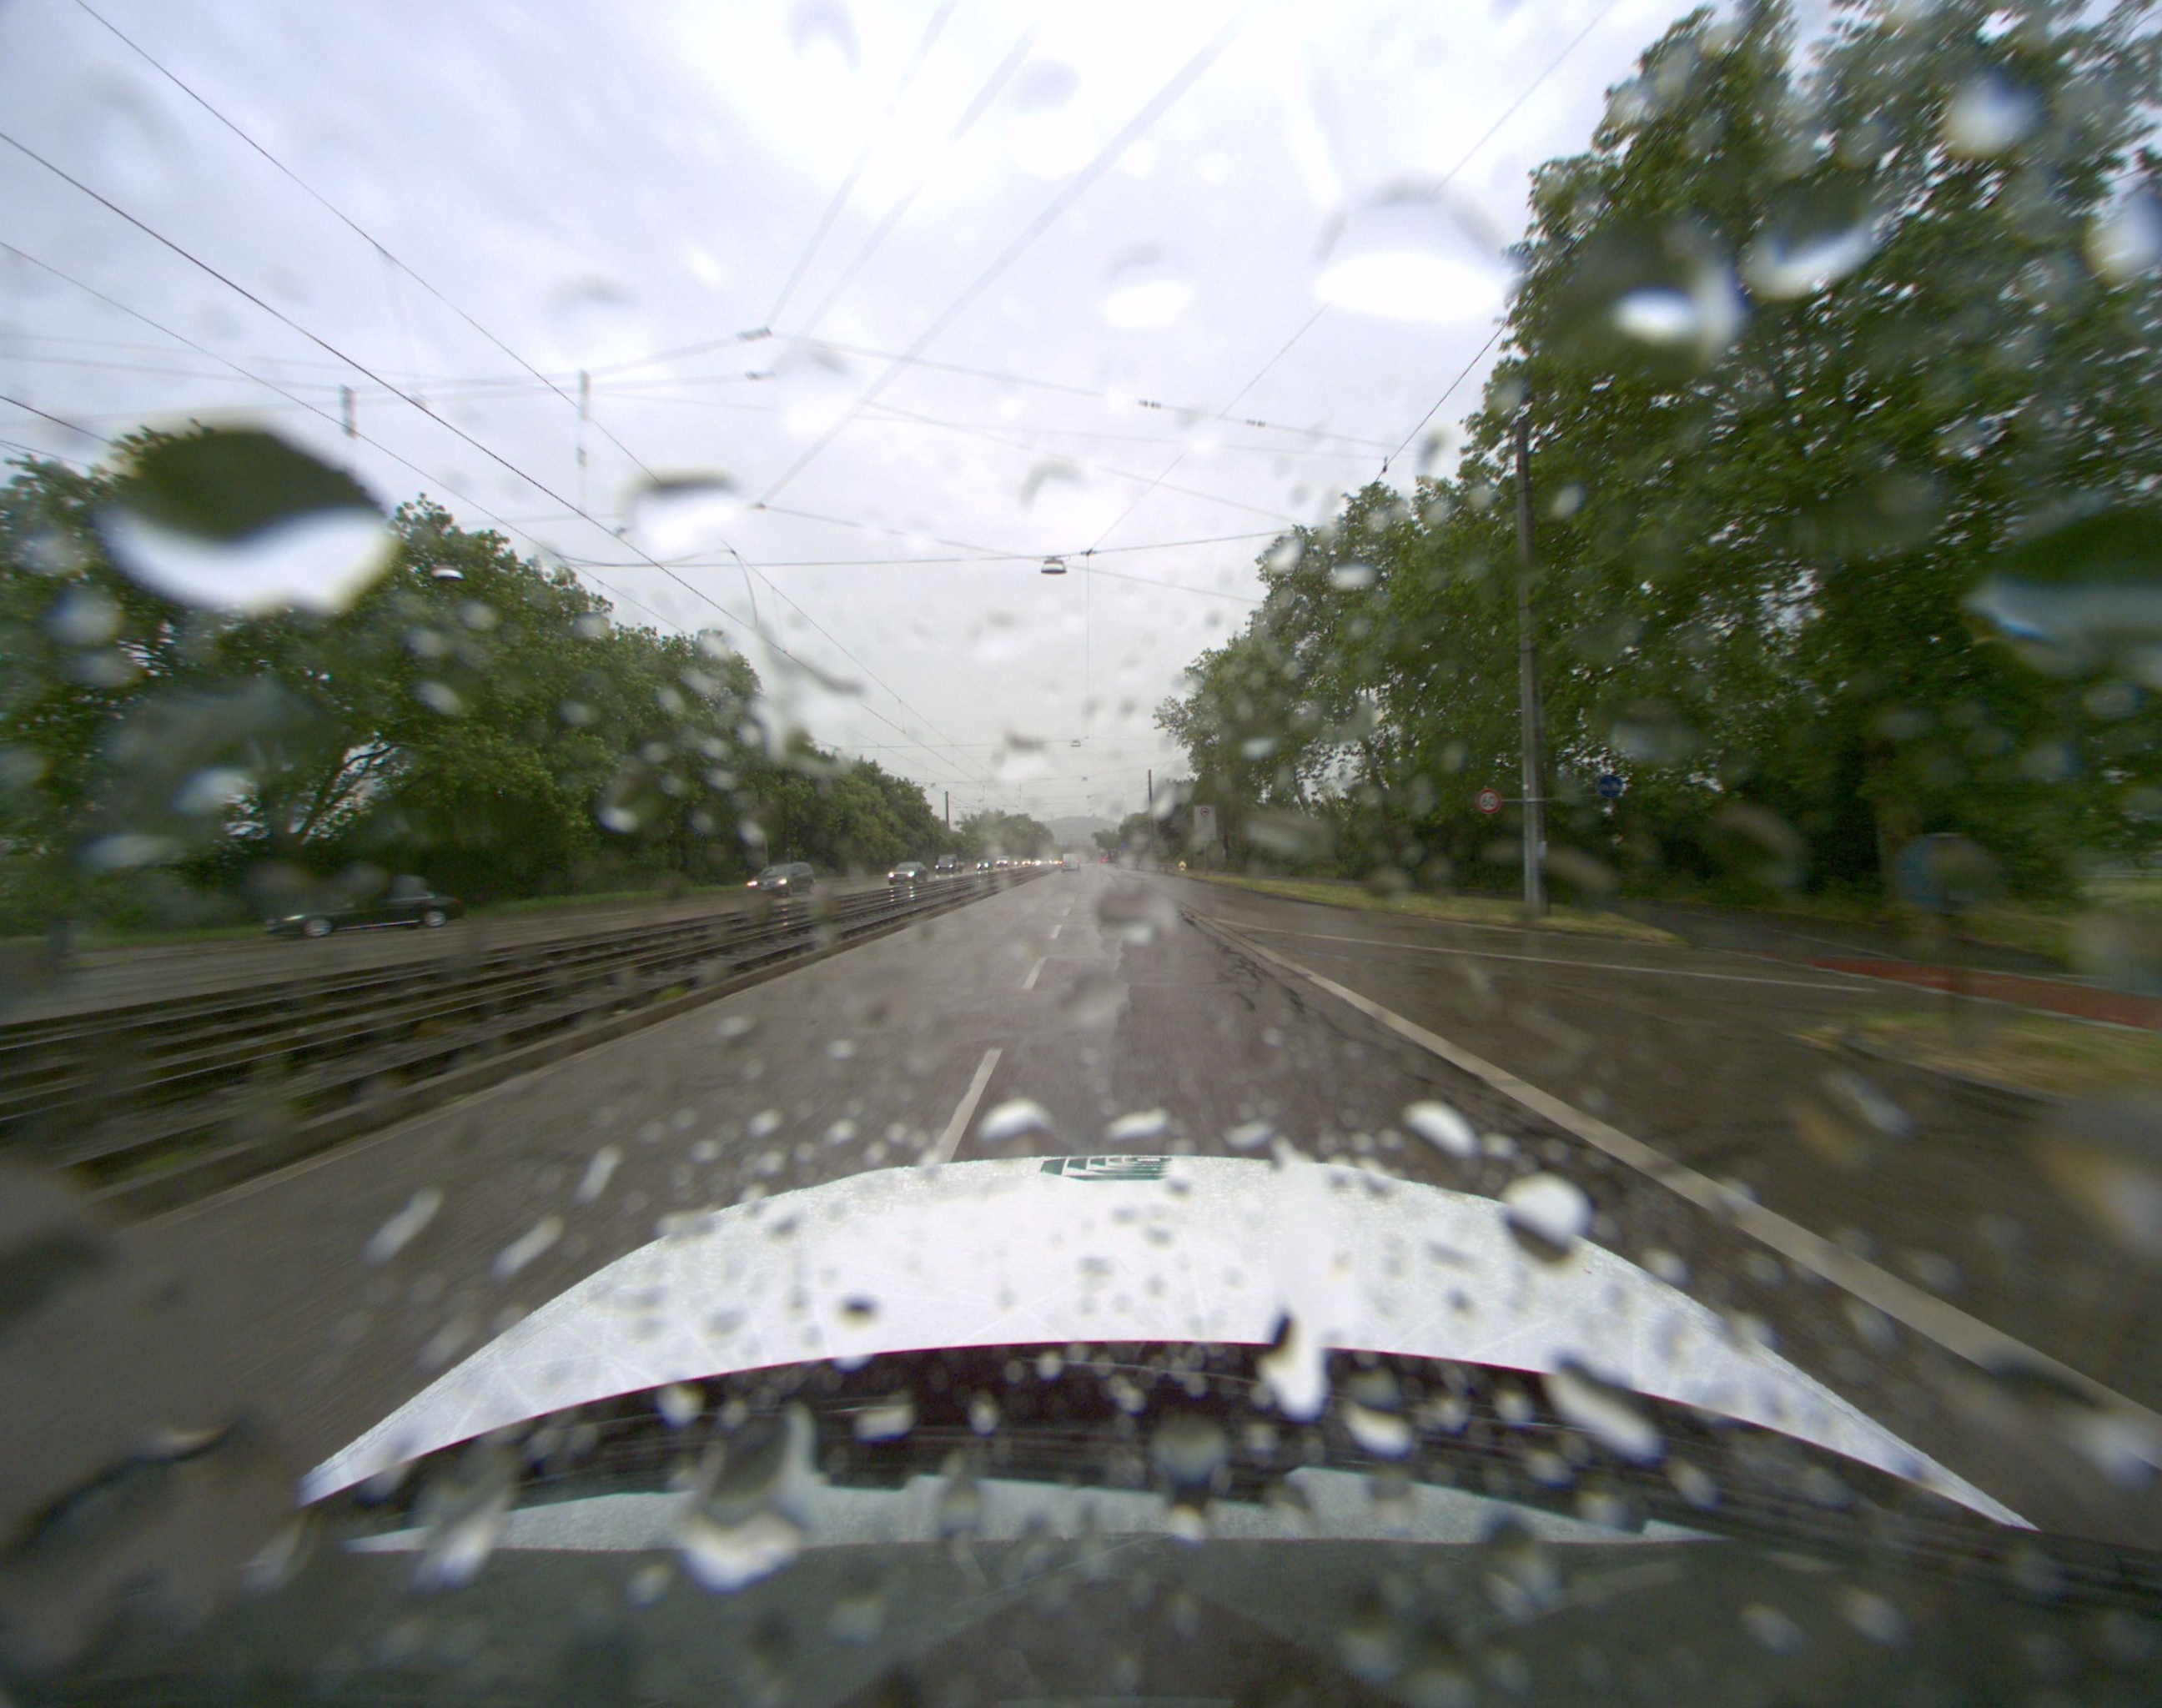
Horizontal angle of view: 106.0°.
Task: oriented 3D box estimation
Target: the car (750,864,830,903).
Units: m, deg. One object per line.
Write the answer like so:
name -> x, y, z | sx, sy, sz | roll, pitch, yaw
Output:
car -> -14.712, 1.431, 41.572 | 1.813, 1.705, 6.106 | 0, 1, 1

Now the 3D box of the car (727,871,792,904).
car -> -19.271, 1.975, 49.027 | 1.813, 1.705, 5.021 | 0, 1, 1

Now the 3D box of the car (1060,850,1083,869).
car -> -0.848, 0.497, 75.943 | 1.981, 1.684, 3.742 | 0, 1, 2

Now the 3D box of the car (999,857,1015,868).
car -> -12.855, 1.407, 141.549 | 2.031, 1.775, 4.989 | 0, 1, 3

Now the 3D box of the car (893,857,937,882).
car -> -11.509, 1.041, 56.846 | 1.770, 1.585, 5.682 | 0, 1, 1

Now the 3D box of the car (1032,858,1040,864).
car -> -11.899, 1.770, 217.261 | 1.791, 1.453, 4.196 | 0, 1, 1

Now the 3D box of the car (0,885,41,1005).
car -> -15.164, 1.247, 8.480 | 1.784, 1.549, 5.314 | 0, 1, 1

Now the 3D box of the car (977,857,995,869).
car -> -13.785, 1.264, 117.877 | 1.833, 1.716, 4.167 | 0, 1, 4

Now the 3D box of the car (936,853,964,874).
car -> -15.574, 1.056, 97.292 | 2.092, 2.343, 6.990 | 0, 1, 0

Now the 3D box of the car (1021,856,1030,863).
car -> -12.947, 1.270, 189.220 | 1.748, 1.711, 4.000 | 0, 1, 0

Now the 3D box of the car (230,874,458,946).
car -> -22.561, 1.623, 25.171 | 2.063, 1.798, 4.794 | 0, 1, 30
